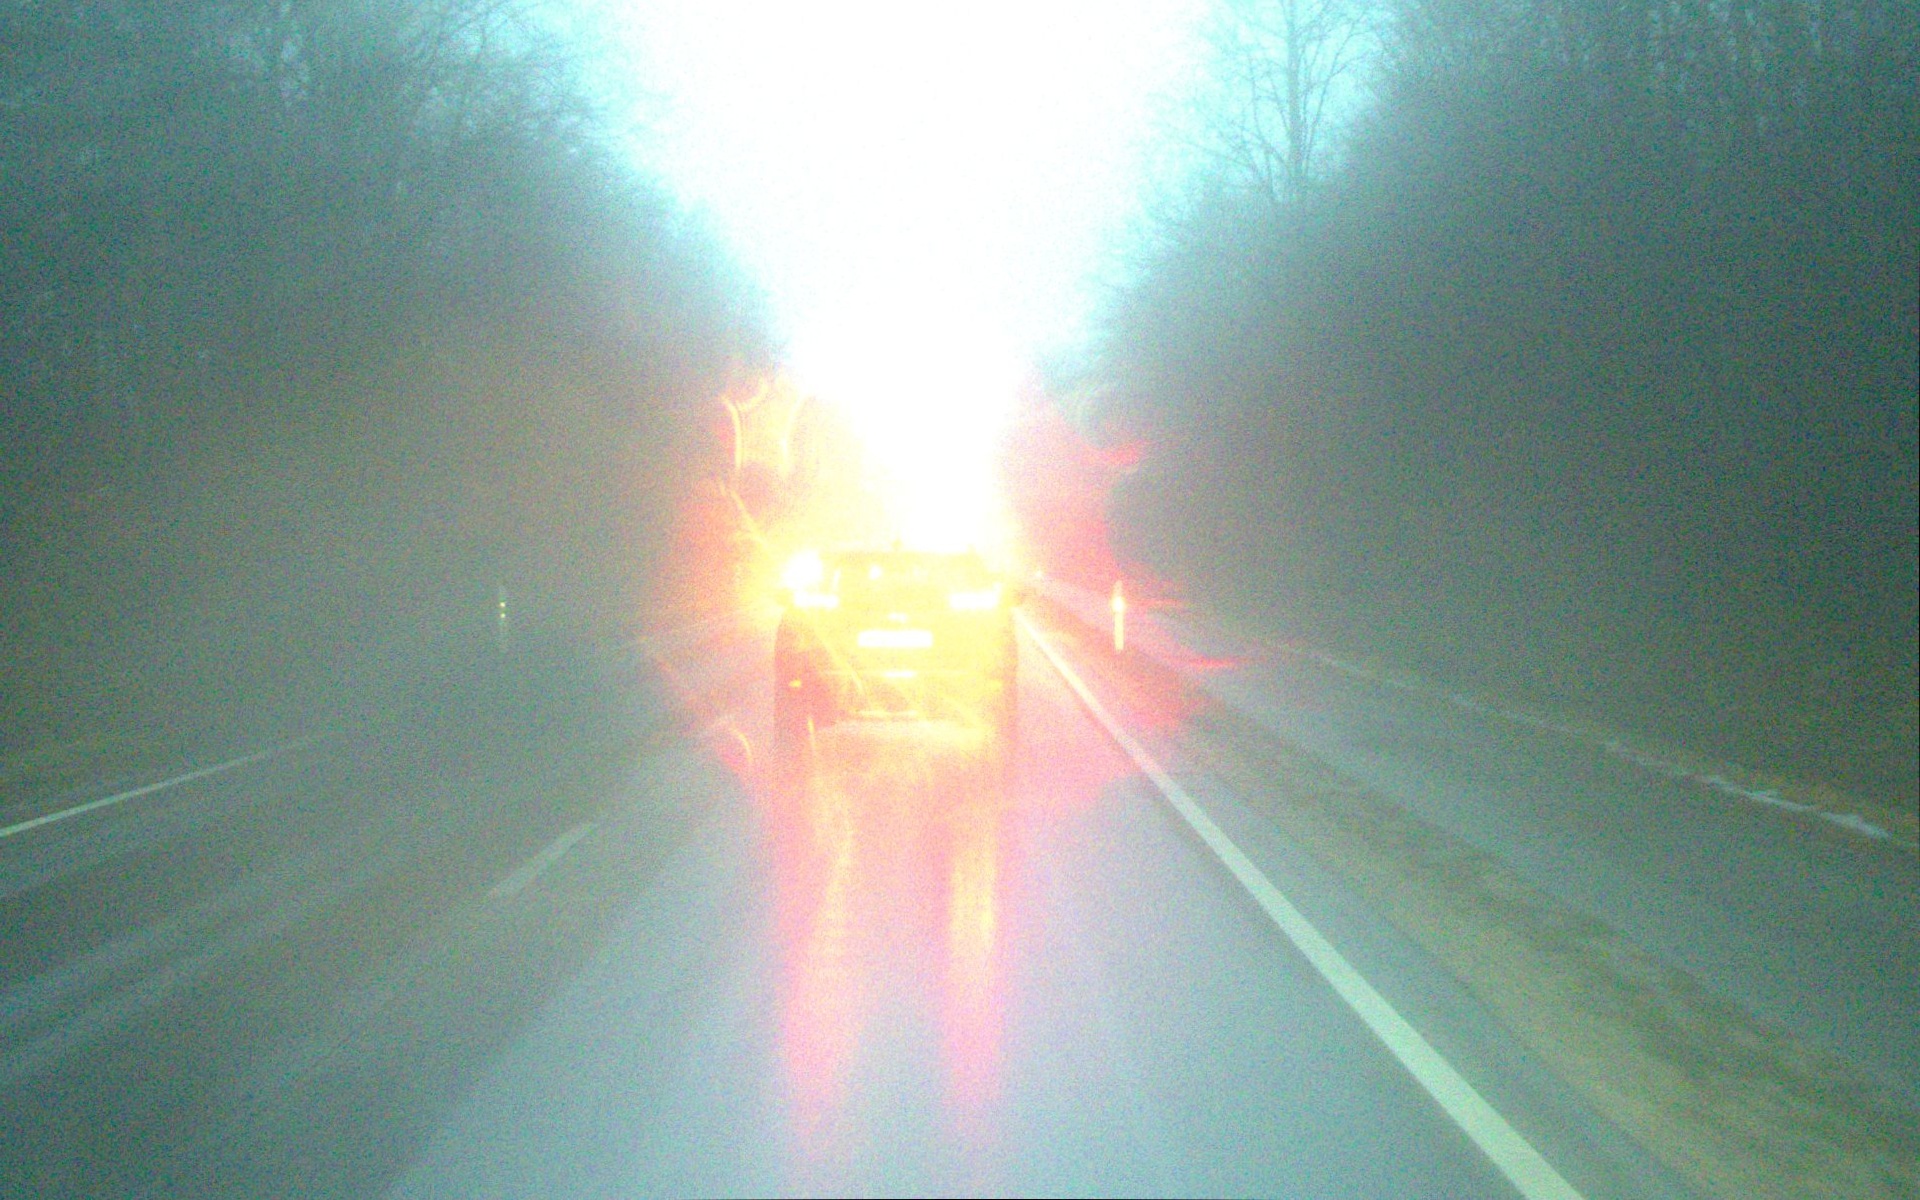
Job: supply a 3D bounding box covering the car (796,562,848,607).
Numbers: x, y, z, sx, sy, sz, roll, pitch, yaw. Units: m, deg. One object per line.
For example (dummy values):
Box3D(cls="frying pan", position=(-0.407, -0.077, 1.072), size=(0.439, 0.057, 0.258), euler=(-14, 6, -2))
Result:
Box3D(cls="car", position=(-4.565, -0.532, 113.960), size=(1.513, 1.409, 3.661), euler=(-1, 1, 1))
